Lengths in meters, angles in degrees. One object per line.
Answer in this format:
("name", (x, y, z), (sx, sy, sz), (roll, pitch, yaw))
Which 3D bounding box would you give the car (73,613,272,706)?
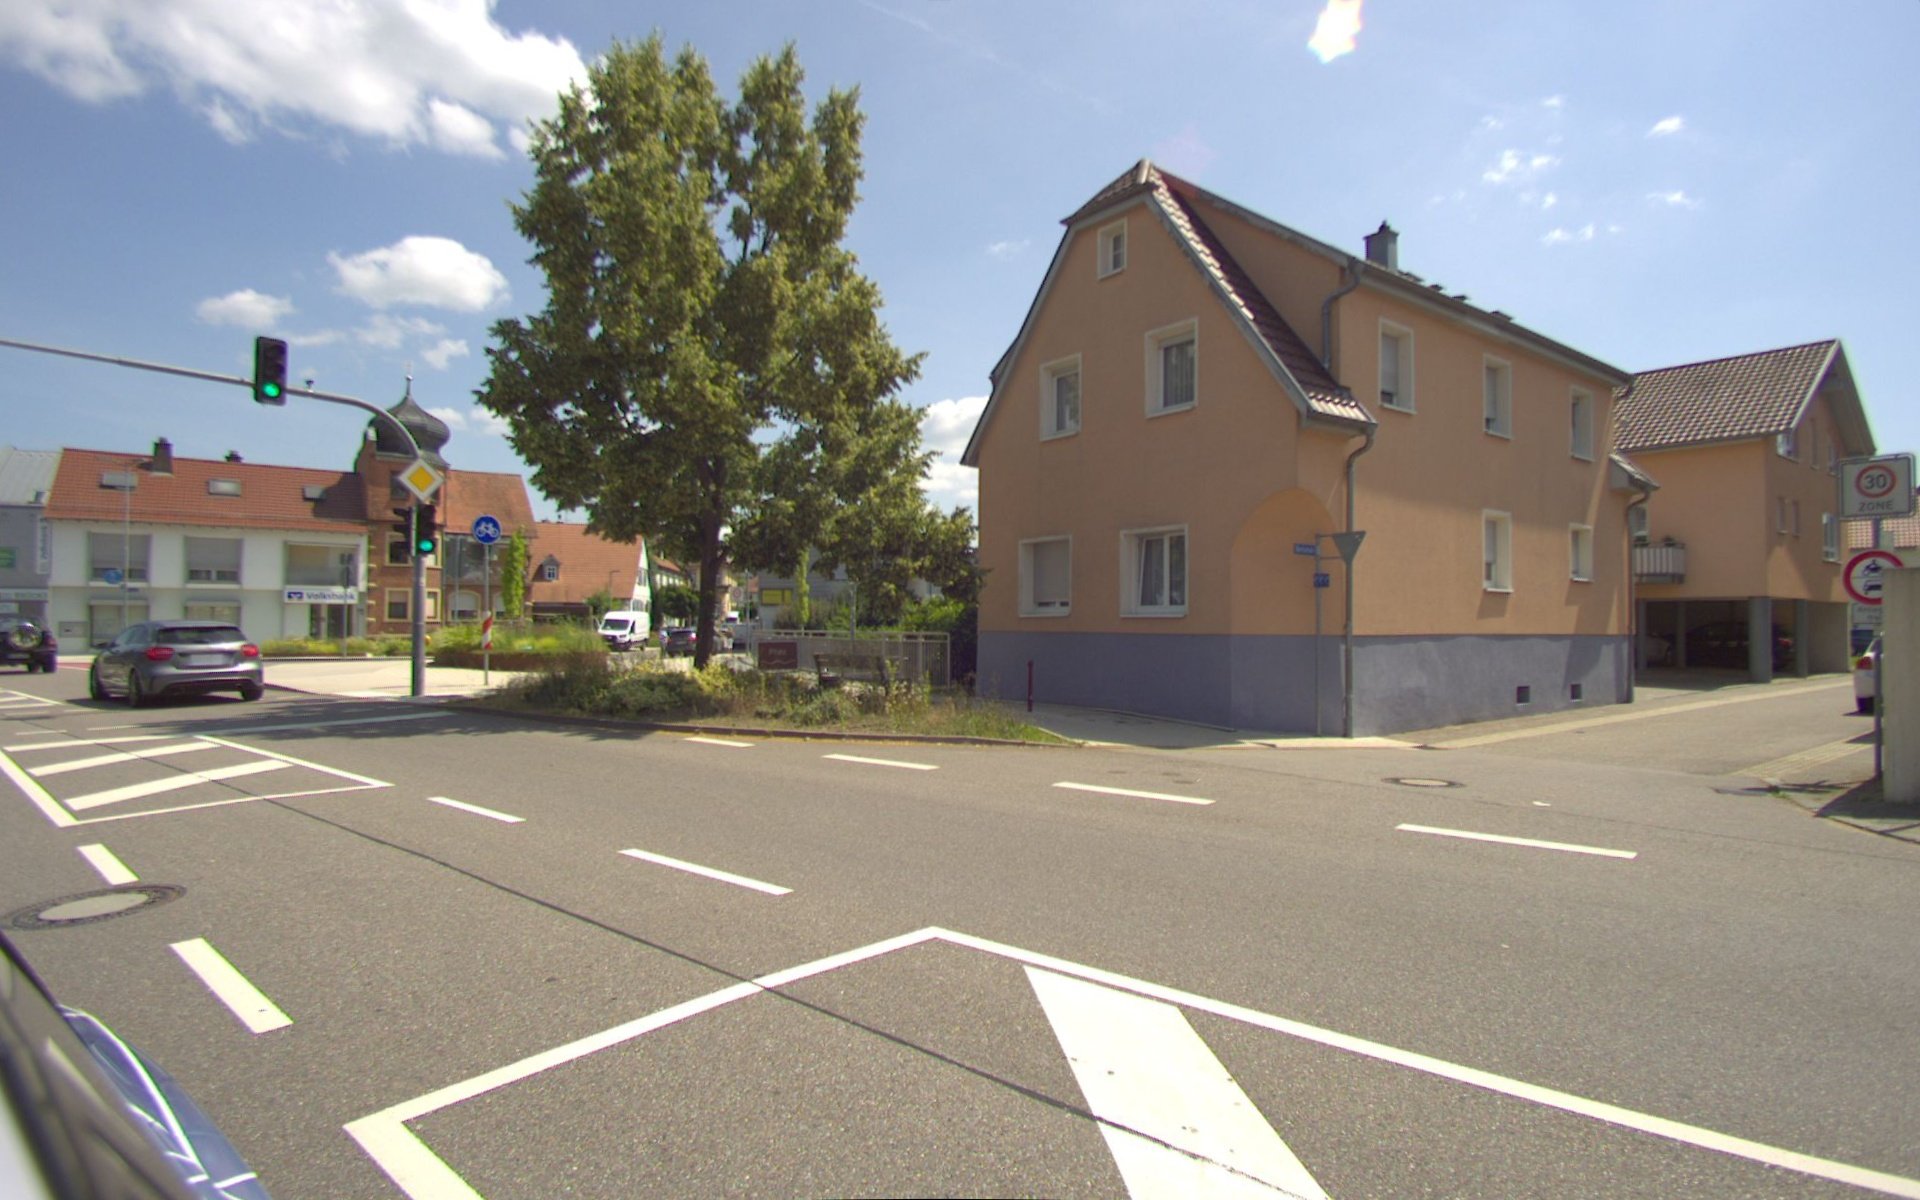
("car", (-14.041, 0.986, 17.970), (4.213, 1.453, 1.844), (0, -3, 39))

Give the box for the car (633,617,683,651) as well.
("car", (-21.927, 2.481, 73.805), (2.142, 2.363, 5.112), (1, -2, -1))

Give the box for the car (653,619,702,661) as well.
("car", (-14.271, 2.015, 51.304), (1.968, 2.029, 4.008), (1, -2, -10))

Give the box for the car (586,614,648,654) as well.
("car", (-21.280, 2.134, 63.046), (2.142, 2.363, 5.112), (1, -2, -1))

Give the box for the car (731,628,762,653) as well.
("car", (-15.505, 2.916, 73.607), (2.035, 1.741, 4.009), (2, -2, -11))

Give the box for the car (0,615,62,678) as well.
("car", (-26.512, 1.272, 28.058), (3.662, 1.663, 1.722), (-1, -2, 37))

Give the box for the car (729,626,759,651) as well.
("car", (-16.766, 2.996, 78.704), (1.893, 1.892, 4.006), (1, -2, -7))

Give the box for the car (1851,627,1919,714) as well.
("car", (18.084, 1.246, 18.713), (3.937, 1.475, 1.812), (1, -3, -40))

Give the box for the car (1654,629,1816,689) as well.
("car", (26.279, 1.960, 34.413), (1.968, 1.852, 4.007), (3, -3, -39))
